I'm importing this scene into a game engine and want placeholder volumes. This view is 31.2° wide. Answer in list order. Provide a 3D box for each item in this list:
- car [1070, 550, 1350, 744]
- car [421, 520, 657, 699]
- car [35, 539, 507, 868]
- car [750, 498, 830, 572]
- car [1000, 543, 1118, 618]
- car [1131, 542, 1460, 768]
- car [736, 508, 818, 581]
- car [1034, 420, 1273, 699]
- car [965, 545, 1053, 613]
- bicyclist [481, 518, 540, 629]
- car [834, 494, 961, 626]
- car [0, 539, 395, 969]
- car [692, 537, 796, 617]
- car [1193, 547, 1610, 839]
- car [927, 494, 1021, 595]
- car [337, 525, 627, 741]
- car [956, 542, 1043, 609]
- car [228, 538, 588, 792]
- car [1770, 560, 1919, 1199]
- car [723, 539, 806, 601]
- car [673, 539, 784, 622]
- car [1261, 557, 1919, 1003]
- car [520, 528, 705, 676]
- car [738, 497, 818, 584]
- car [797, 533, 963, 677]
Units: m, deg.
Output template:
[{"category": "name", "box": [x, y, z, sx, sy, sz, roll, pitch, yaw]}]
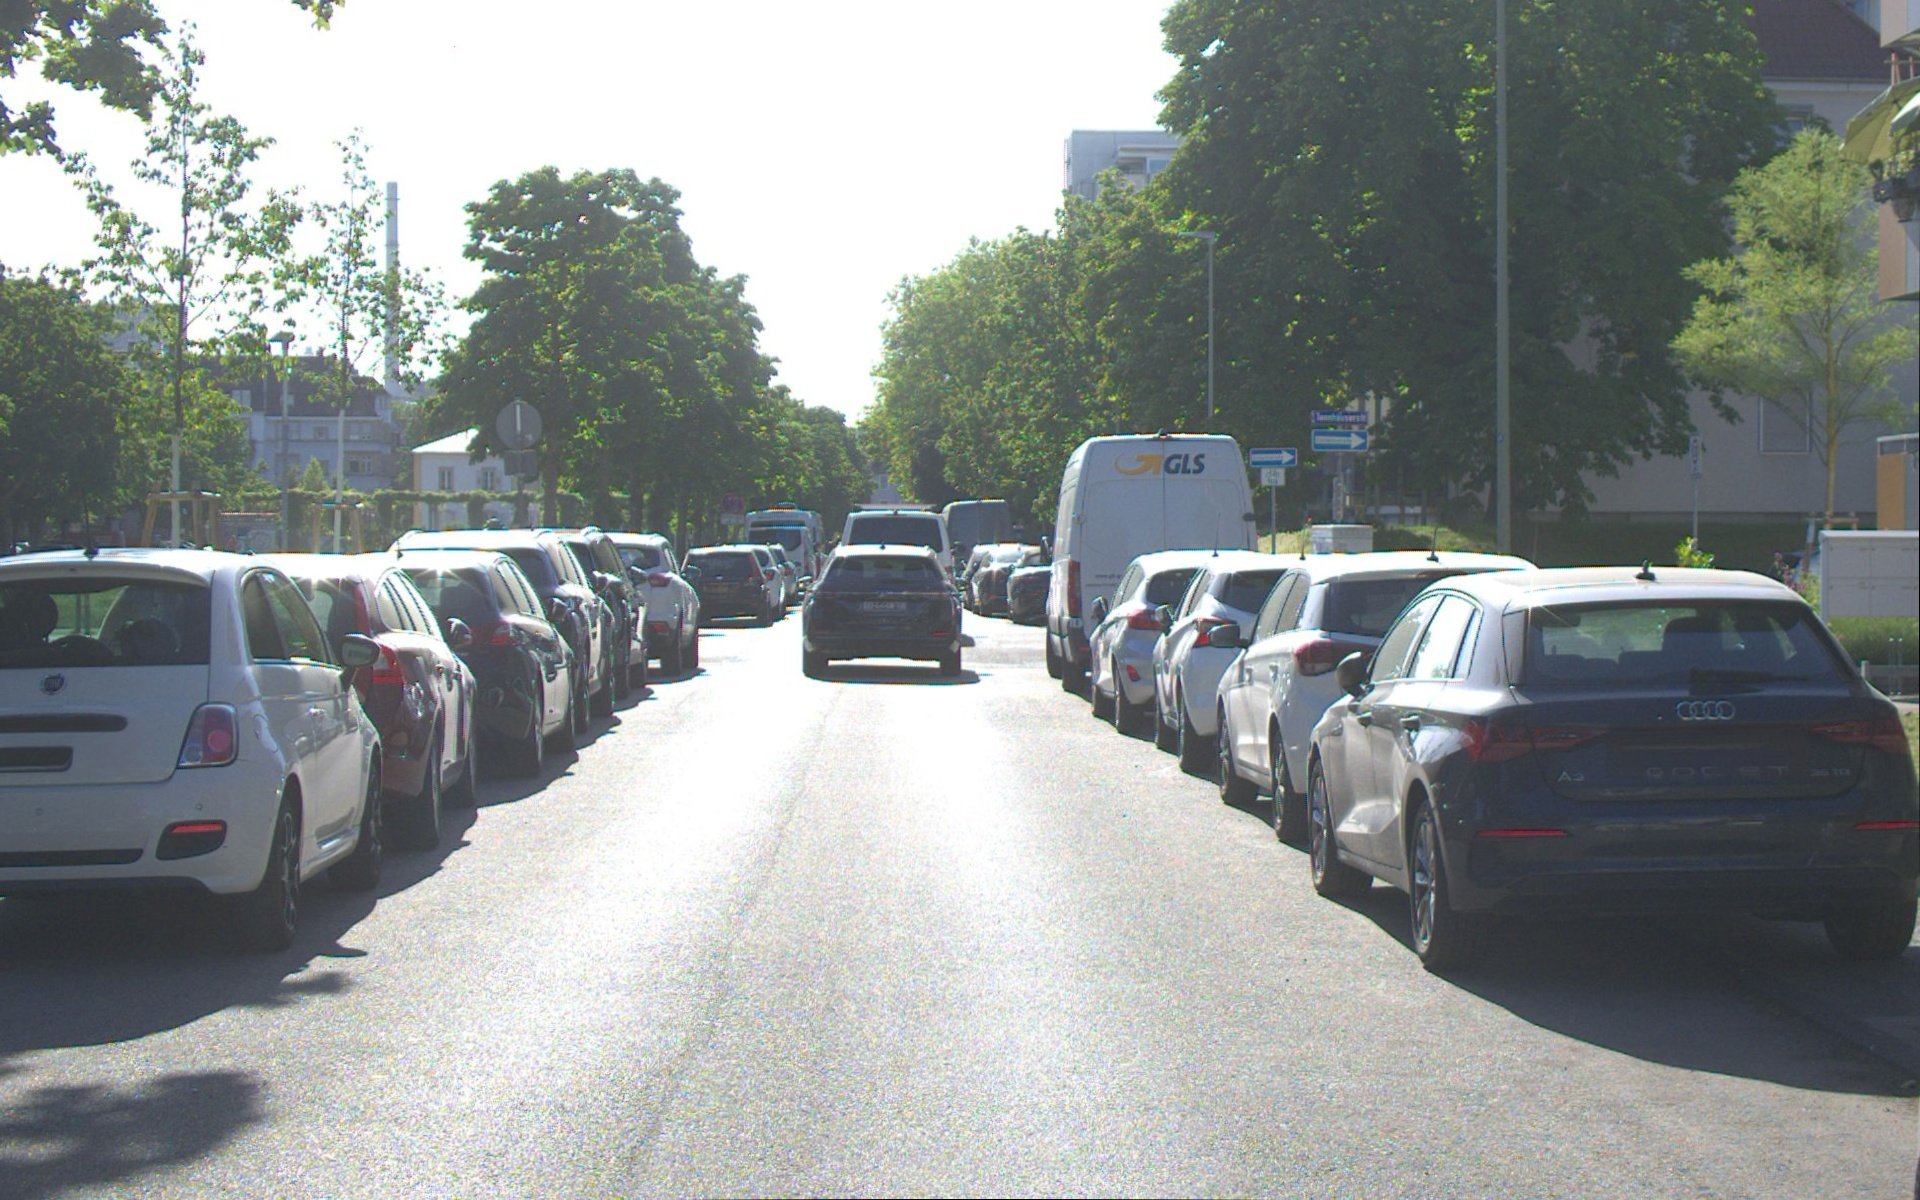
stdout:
[{"category": "car", "box": [2.043, 0.342, 29.257, 1.849, 1.461, 4.202, 1, 1, -3]}, {"category": "car", "box": [-4.164, 0.047, 34.651, 1.842, 1.633, 4.715, -1, 1, -1]}, {"category": "car", "box": [-3.518, 0.441, 18.373, 1.755, 1.487, 4.669, -1, 1, -3]}, {"category": "car", "box": [-6.187, -2.373, 125.772, 2.616, 2.636, 6.114, 0, 1, 0]}, {"category": "car", "box": [1.891, -0.410, 67.040, 2.125, 1.333, 4.506, -2, 1, 0]}, {"category": "car", "box": [2.300, 0.323, 24.572, 1.878, 1.470, 4.140, 0, 1, -1]}, {"category": "car", "box": [-4.973, -1.519, 93.924, 2.098, 1.936, 4.127, 0, 1, -1]}, {"category": "car", "box": [1.976, -0.461, 37.215, 2.142, 2.703, 6.841, -1, 1, 0]}, {"category": "car", "box": [1.019, -0.465, 72.984, 1.779, 1.366, 4.127, 0, 1, 0]}, {"category": "bicyclist", "box": [-6.505, -0.388, 49.752, 0.788, 1.591, 0.696, 0, 1, -4]}, {"category": "car", "box": [-0.952, -0.647, 54.489, 1.894, 1.984, 4.010, -1, 1, 0]}, {"category": "car", "box": [-3.319, 0.516, 13.932, 1.586, 1.487, 3.686, -1, 1, -3]}, {"category": "car", "box": [-4.220, -0.453, 67.748, 1.777, 1.490, 3.875, -2, 0, 0]}, {"category": "car", "box": [2.341, 0.433, 19.196, 1.721, 1.430, 4.153, 0, 1, -1]}, {"category": "car", "box": [0.358, -1.531, 94.511, 2.162, 2.680, 5.417, 0, 1, -4]}, {"category": "car", "box": [-3.870, 0.206, 28.568, 1.819, 1.604, 4.739, -1, 1, -1]}, {"category": "car", "box": [0.888, -0.582, 79.357, 1.779, 1.482, 4.032, 0, 1, -3]}, {"category": "car", "box": [-3.662, 0.363, 23.542, 1.873, 1.514, 4.471, -2, 1, -2]}, {"category": "car", "box": [2.683, 0.693, 5.188, 1.747, 1.494, 3.862, 0, 1, -4]}, {"category": "car", "box": [-4.836, -0.770, 85.468, 1.833, 1.495, 4.127, 0, 1, 0]}, {"category": "car", "box": [-4.232, -0.361, 63.227, 1.748, 1.420, 3.916, -2, 0, 0]}, {"category": "car", "box": [2.368, 0.573, 13.766, 1.699, 1.430, 4.472, -1, 1, -3]}, {"category": "car", "box": [-4.102, -0.022, 41.173, 1.756, 1.641, 4.287, -1, 1, 0]}, {"category": "car", "box": [-5.280, -1.737, 100.330, 2.098, 2.488, 4.127, 0, 1, 0]}, {"category": "car", "box": [-0.882, 0.016, 39.661, 1.779, 1.526, 4.000, 1, 1, 0]}]
